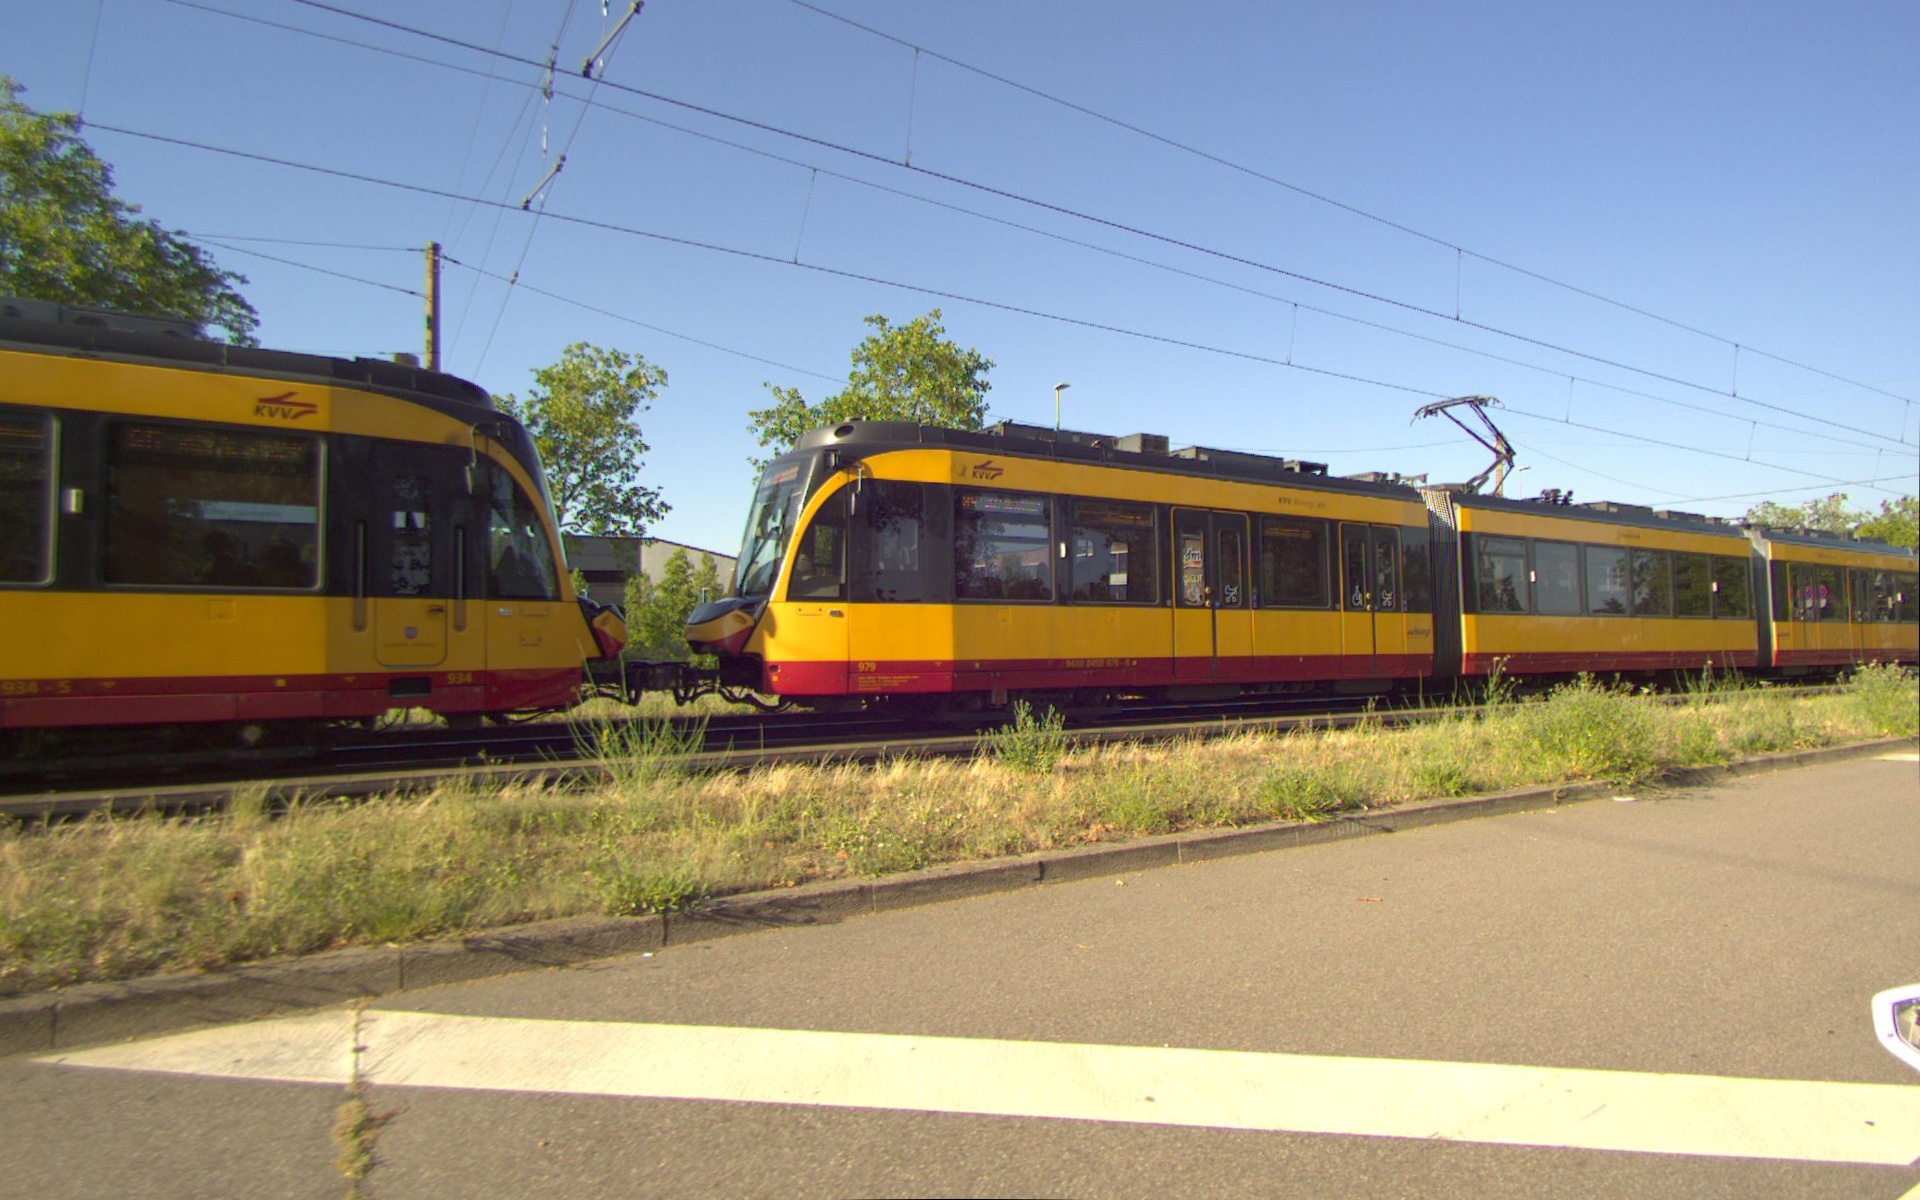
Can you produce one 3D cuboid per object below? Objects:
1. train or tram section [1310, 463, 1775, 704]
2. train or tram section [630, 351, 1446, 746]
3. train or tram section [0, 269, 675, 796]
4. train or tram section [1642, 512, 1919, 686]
[{"bbox_3d":[12.752,-0.142,21.169,12.508,4.003,2.810,1,-1,-31],"label":"train or tram section"},{"bbox_3d":[1.969,-0.391,14.641,12.561,4.003,2.810,1,-1,-31],"label":"train or tram section"},{"bbox_3d":[-8.599,-0.513,8.323,11.678,3.954,2.790,1,-1,-31],"label":"train or tram section"},{"bbox_3d":[22.718,0.088,27.193,10.709,4.003,2.810,1,-1,-31],"label":"train or tram section"}]
